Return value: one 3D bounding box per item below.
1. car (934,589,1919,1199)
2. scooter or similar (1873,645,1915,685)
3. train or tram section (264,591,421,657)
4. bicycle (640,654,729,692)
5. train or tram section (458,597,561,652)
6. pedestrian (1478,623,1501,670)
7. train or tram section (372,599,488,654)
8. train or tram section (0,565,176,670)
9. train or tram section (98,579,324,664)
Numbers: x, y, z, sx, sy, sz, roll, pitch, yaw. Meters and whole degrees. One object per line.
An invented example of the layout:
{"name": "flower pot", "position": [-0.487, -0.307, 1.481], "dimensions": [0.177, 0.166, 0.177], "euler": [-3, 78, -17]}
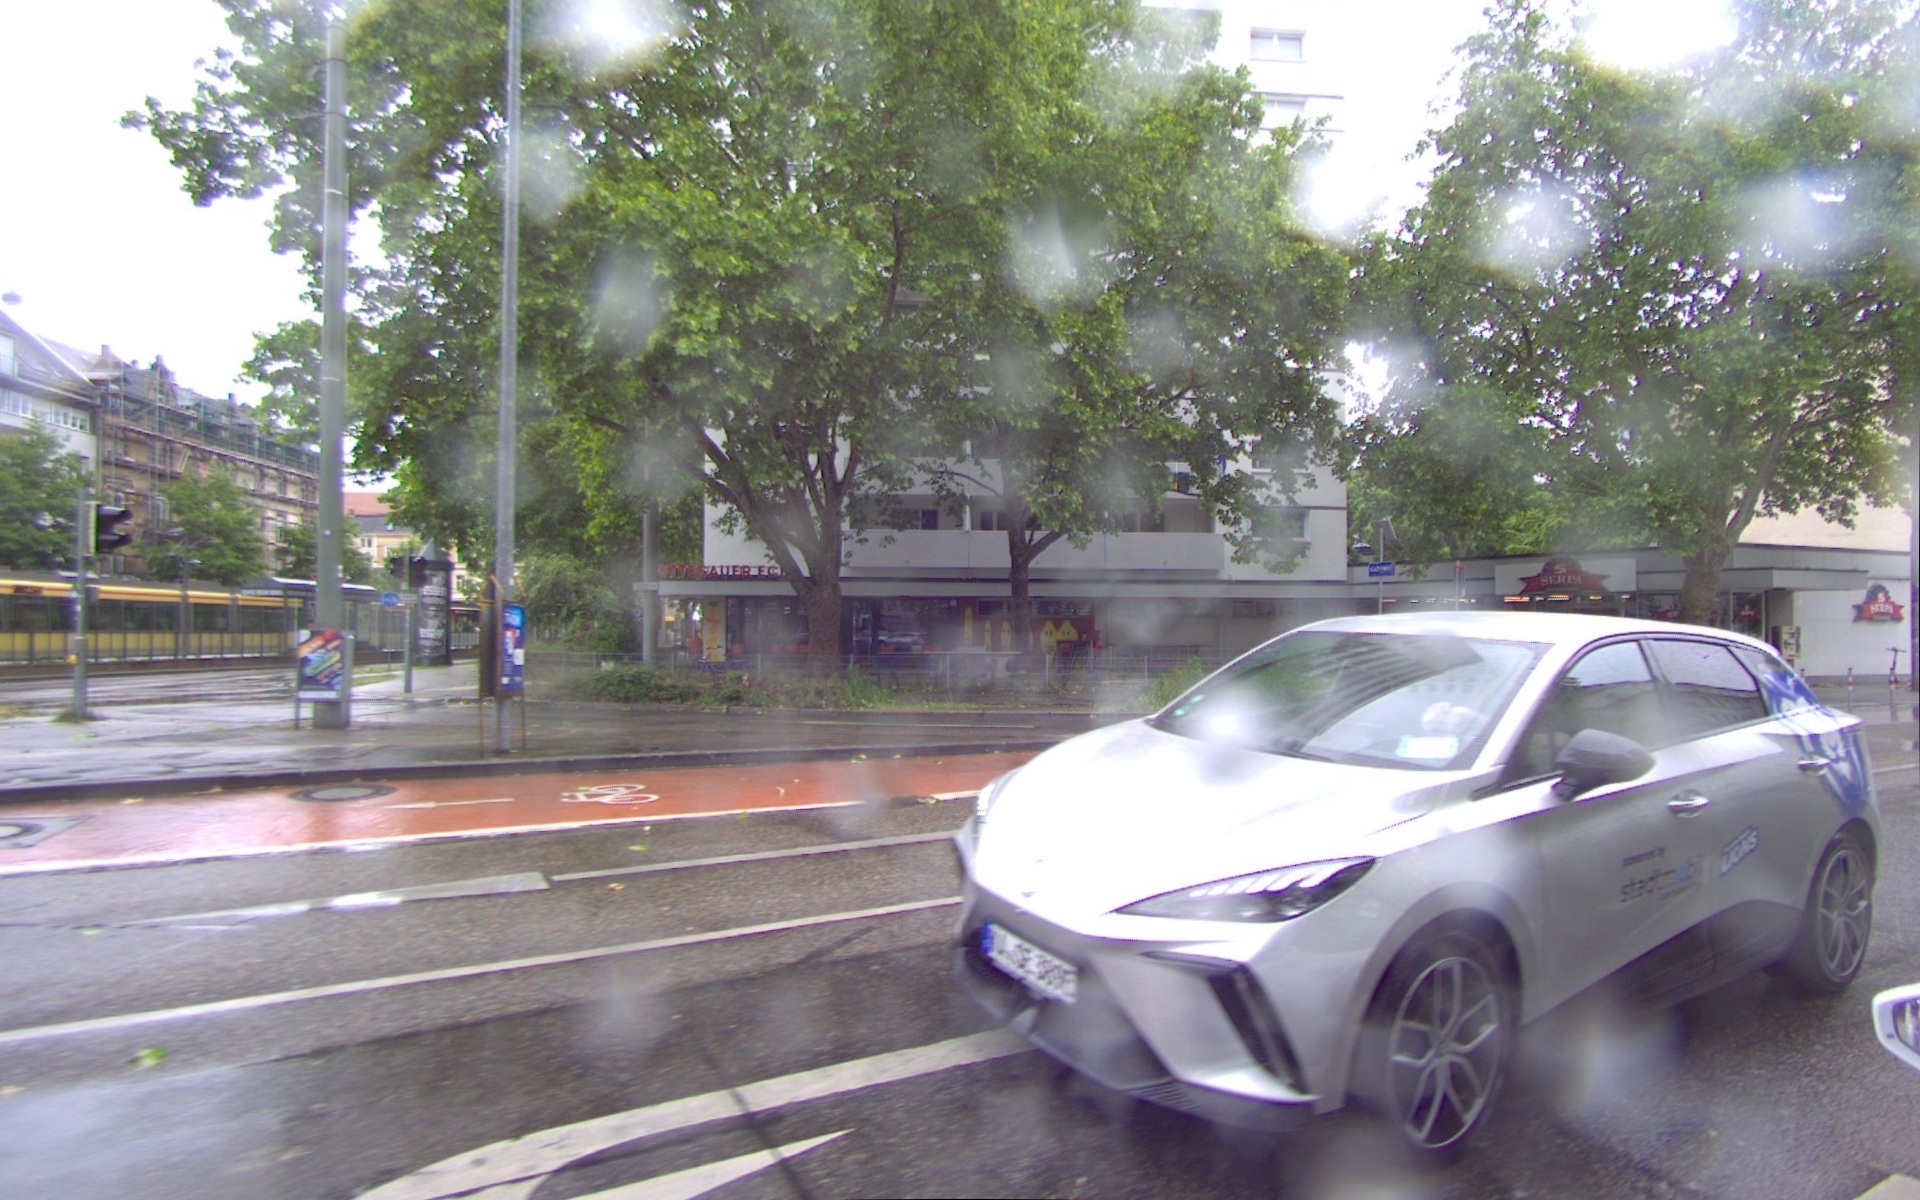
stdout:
{"name": "car", "position": [2.076, 0.807, 4.101], "dimensions": [4.008, 1.530, 1.836], "euler": [1, -2, -31]}
{"name": "scooter or similar", "position": [29.983, 2.076, 32.240], "dimensions": [1.355, 1.282, 0.437], "euler": [1, -2, -23]}
{"name": "train or tram section", "position": [-36.194, 1.505, 59.653], "dimensions": [3.014, 3.550, 11.571], "euler": [0, -2, -5]}
{"name": "bicycle", "position": [-7.243, 1.916, 26.432], "dimensions": [2.271, 0.880, 0.639], "euler": [1, -1, 19]}
{"name": "train or tram section", "position": [-31.473, 1.838, 70.871], "dimensions": [3.014, 3.550, 11.571], "euler": [0, -2, -5]}
{"name": "pedestrian", "position": [18.753, 1.629, 35.577], "dimensions": [0.637, 1.650, 0.564], "euler": [2, -2, -44]}
{"name": "train or tram section", "position": [-37.215, 1.938, 71.168], "dimensions": [3.014, 3.550, 11.571], "euler": [0, -2, -5]}
{"name": "train or tram section", "position": [-34.221, 0.706, 36.610], "dimensions": [3.014, 3.550, 11.571], "euler": [0, -2, -5]}
{"name": "train or tram section", "position": [-35.242, 1.126, 48.160], "dimensions": [3.014, 3.550, 11.571], "euler": [0, -2, -5]}
